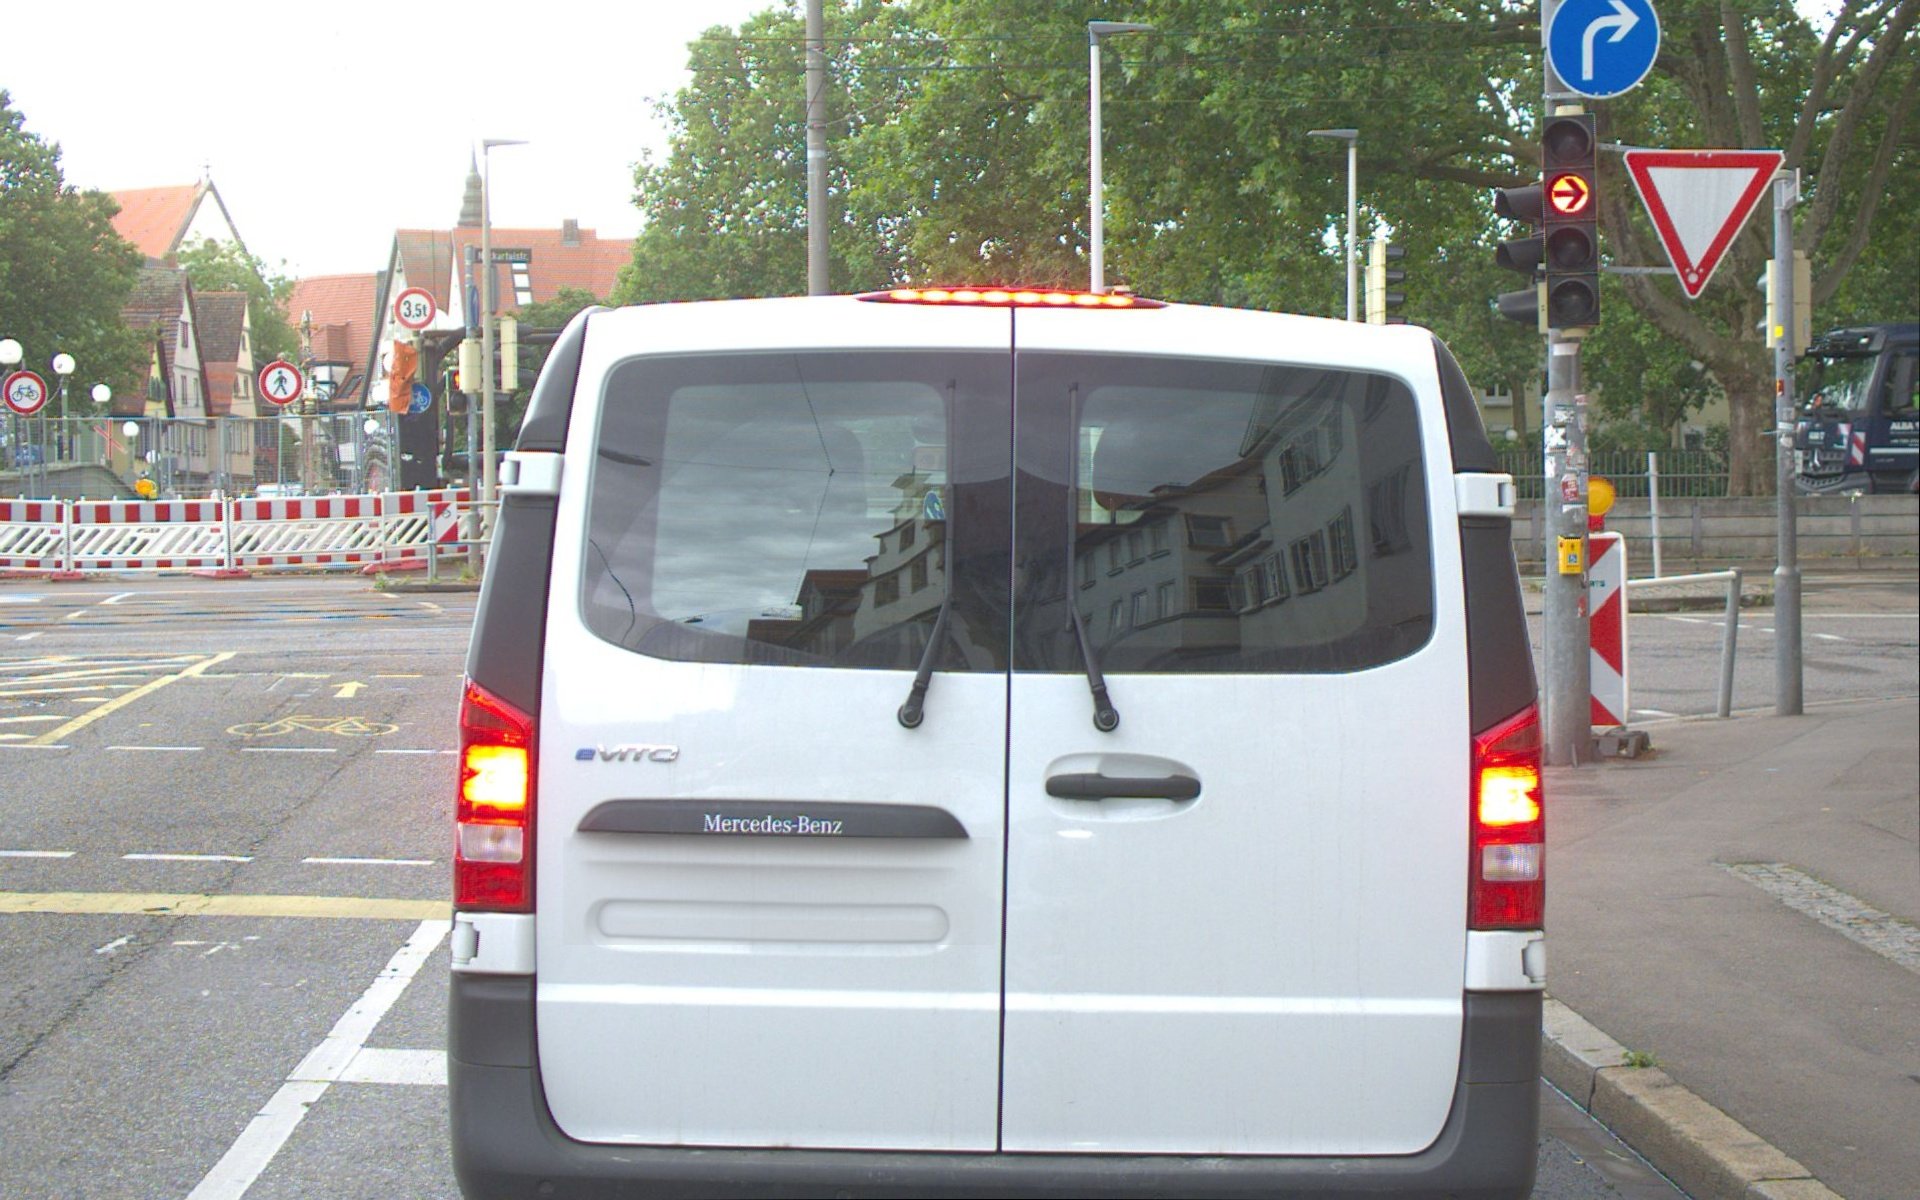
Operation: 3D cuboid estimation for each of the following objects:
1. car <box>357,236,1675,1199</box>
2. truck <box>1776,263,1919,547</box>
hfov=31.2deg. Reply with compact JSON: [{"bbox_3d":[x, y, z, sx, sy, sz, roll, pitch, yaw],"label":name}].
[{"bbox_3d":[-0.028,0.316,7.365,1.993,1.916,4.250,1,3,-3],"label":"car"},{"bbox_3d":[16.316,-2.575,46.398,10.183,3.683,2.272,0,1,-8],"label":"truck"}]
